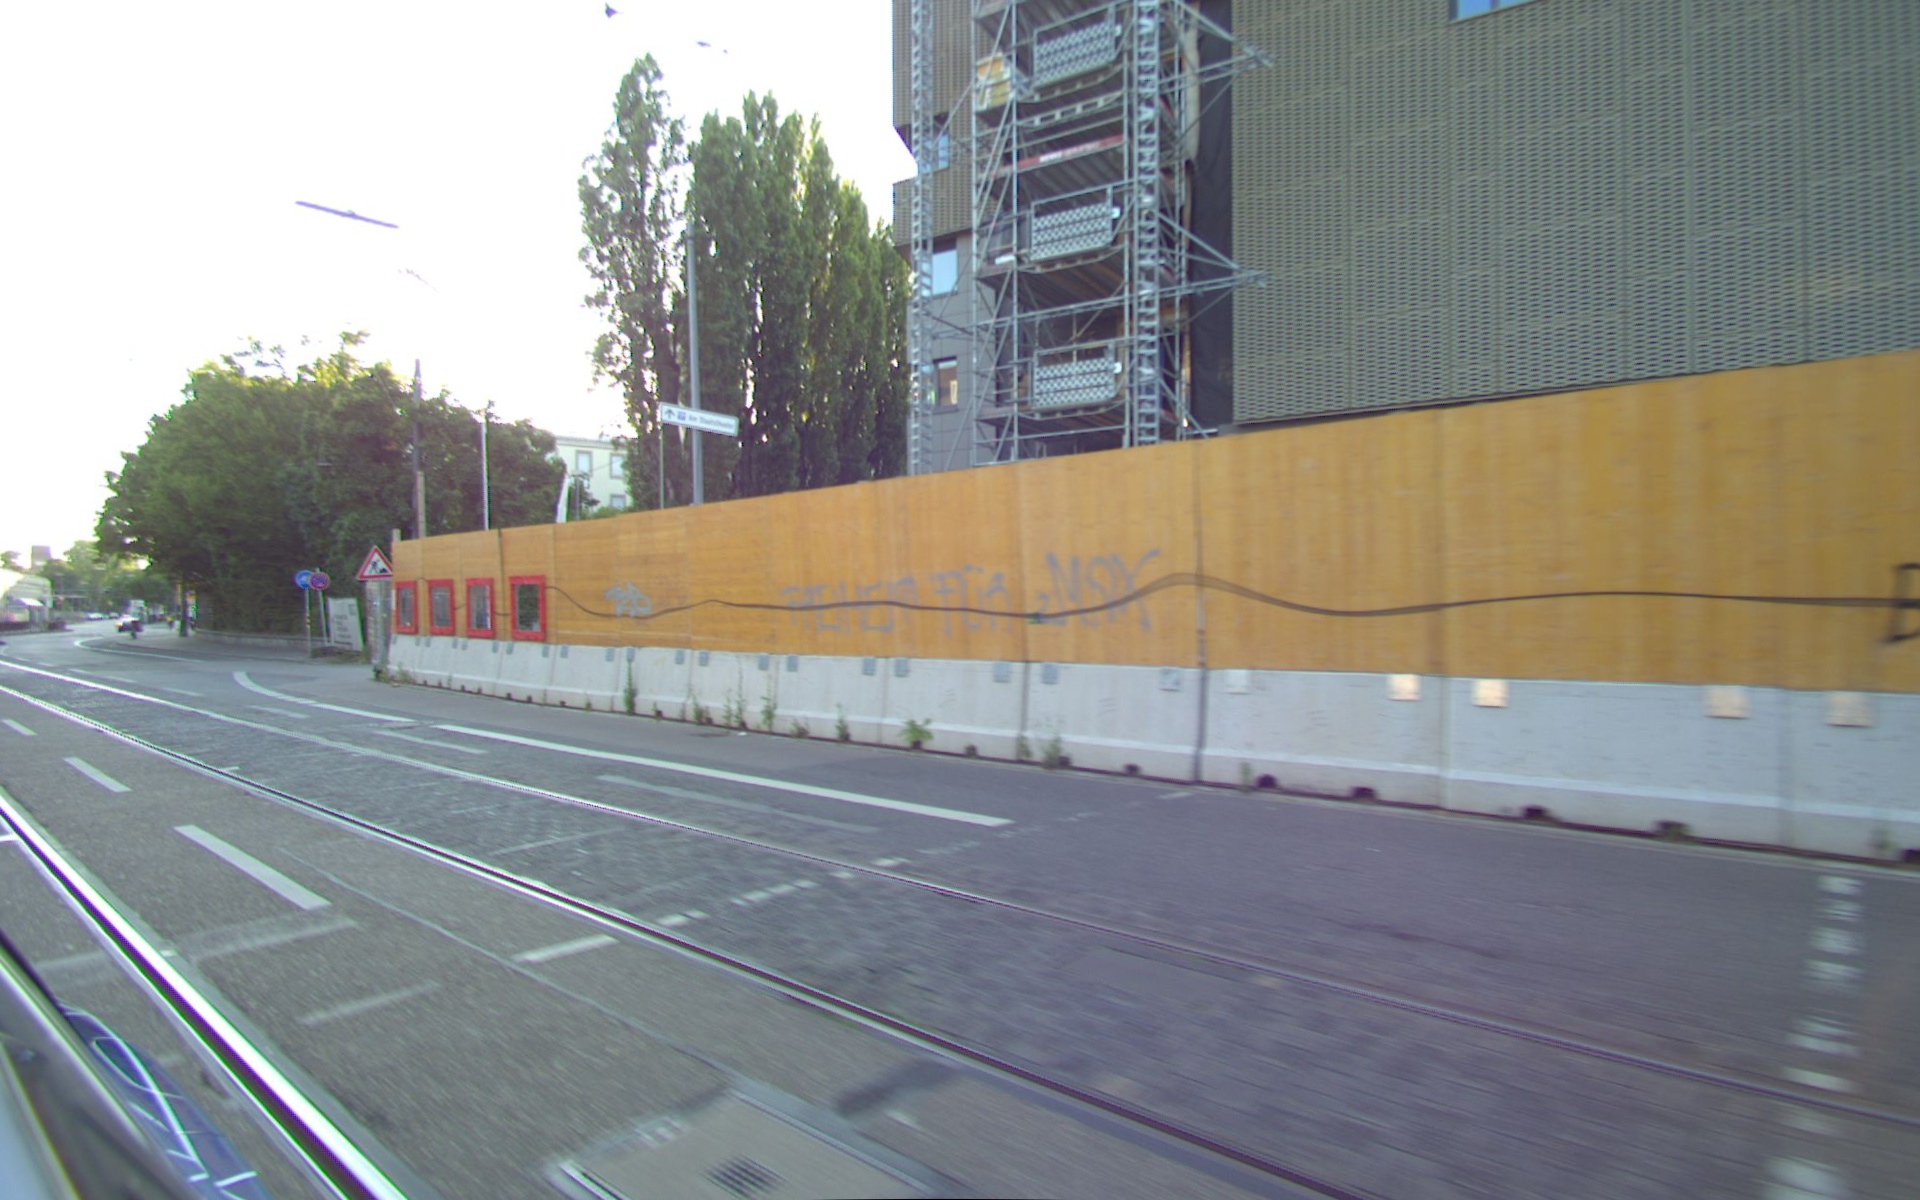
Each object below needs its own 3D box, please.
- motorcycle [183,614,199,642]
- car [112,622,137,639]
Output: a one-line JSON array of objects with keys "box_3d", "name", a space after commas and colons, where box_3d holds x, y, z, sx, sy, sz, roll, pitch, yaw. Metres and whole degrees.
[{"box_3d": [-67.270, 2.448, 88.518, 1.008, 2.461, 2.671, 0, -1, -40], "name": "motorcycle"}, {"box_3d": [-88.982, 3.254, 107.799, 1.968, 1.697, 4.007, 0, -1, -39], "name": "car"}]
